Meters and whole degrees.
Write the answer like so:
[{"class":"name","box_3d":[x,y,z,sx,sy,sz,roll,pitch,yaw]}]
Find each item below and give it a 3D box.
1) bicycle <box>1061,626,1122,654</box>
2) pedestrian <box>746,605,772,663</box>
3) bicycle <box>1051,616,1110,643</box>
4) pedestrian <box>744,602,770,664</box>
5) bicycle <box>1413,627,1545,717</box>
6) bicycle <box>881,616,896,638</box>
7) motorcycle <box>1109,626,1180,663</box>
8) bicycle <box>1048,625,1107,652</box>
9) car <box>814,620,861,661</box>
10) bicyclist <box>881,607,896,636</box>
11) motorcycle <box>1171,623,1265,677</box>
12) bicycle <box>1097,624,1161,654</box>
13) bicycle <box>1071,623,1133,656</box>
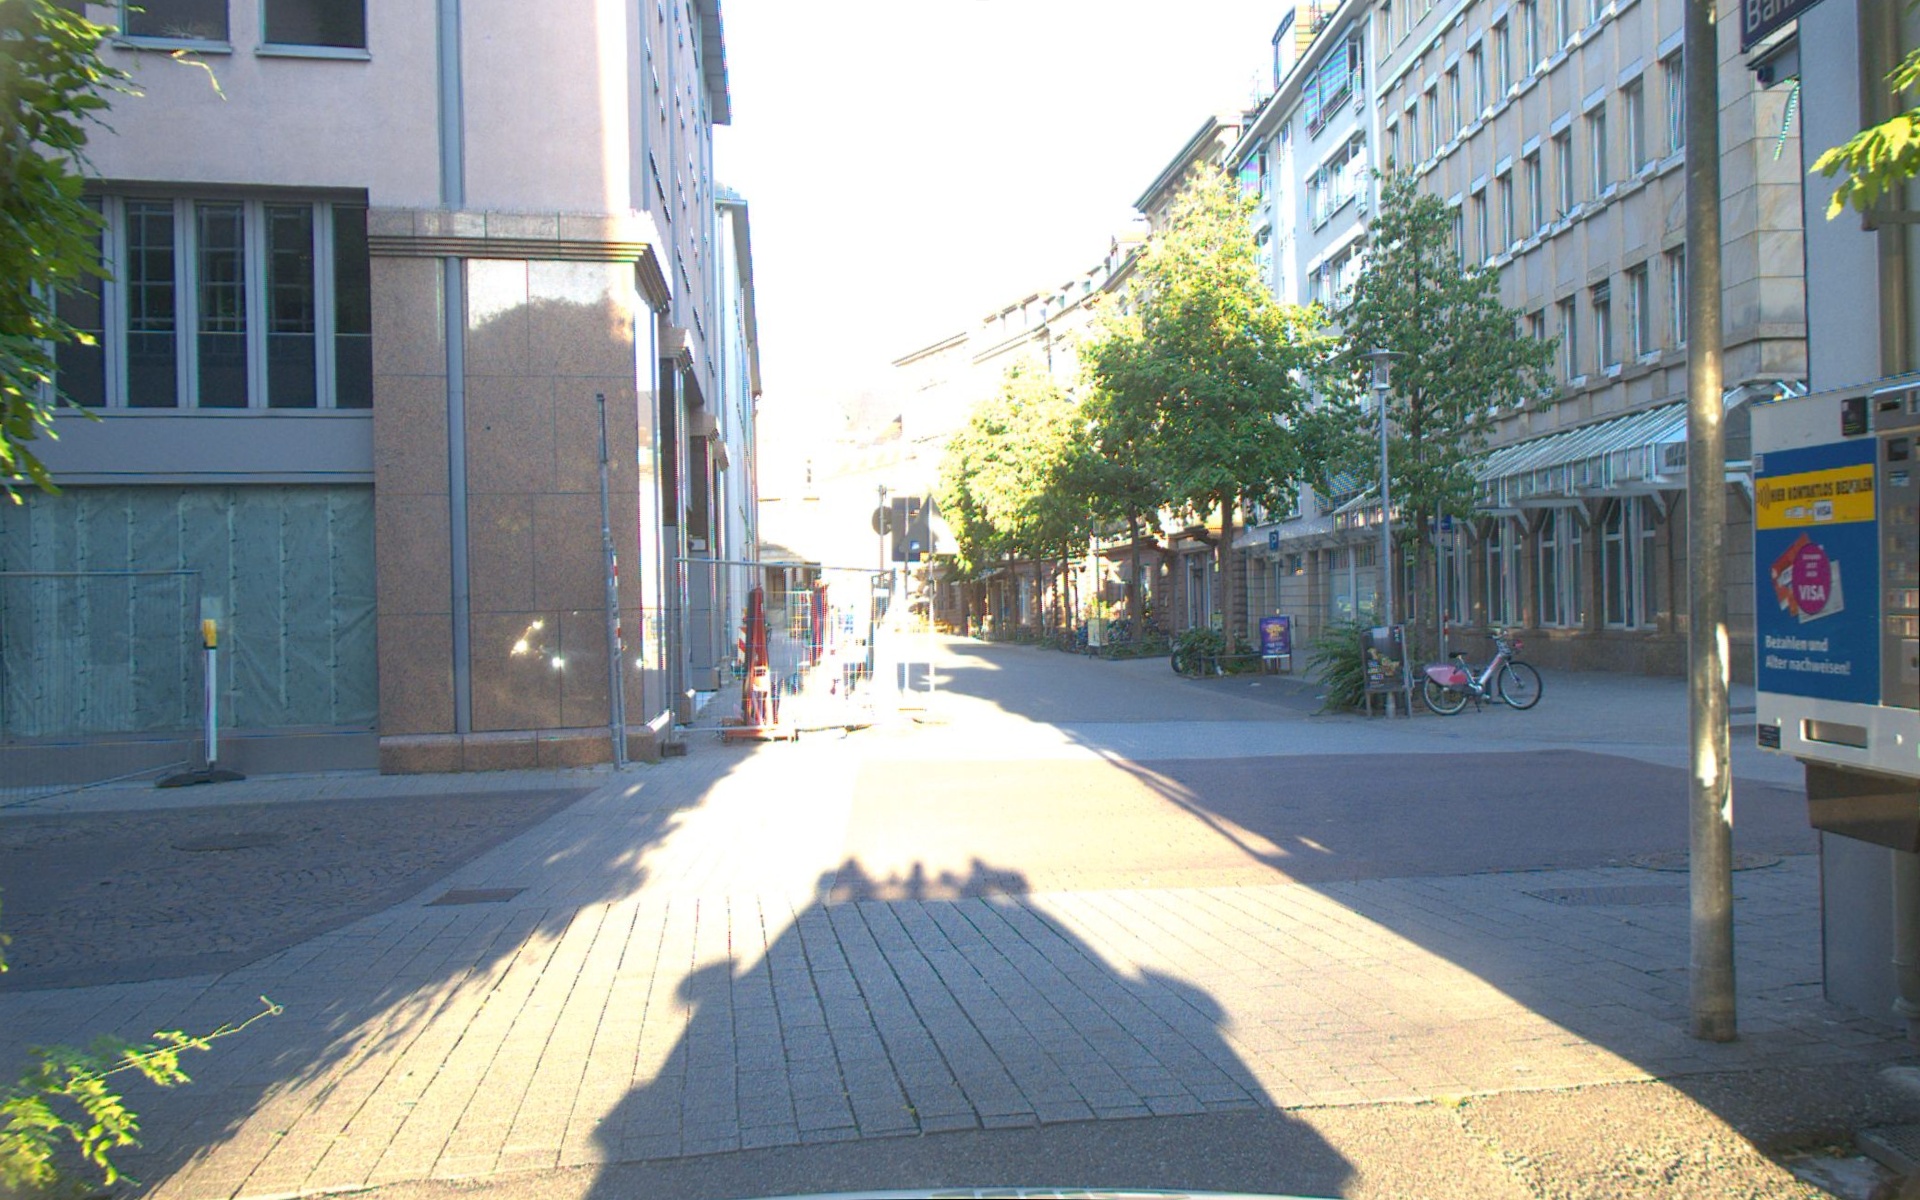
[{"class":"bicycle","box_3d":[4.826,1.482,60.659,2.115,0.942,0.589,-2,-1,-11]},{"class":"pedestrian","box_3d":[-5.996,1.009,49.408,0.641,1.680,0.634,-2,-1,1]},{"class":"bicycle","box_3d":[4.498,1.104,61.749,2.115,0.942,0.589,-2,-1,-11]},{"class":"pedestrian","box_3d":[-5.980,0.959,48.740,0.641,1.795,0.634,-2,-1,1]},{"class":"bicycle","box_3d":[7.085,0.979,22.641,1.621,1.069,0.663,-5,0,14]},{"class":"bicycle","box_3d":[-3.805,1.455,87.952,0.578,1.114,2.156,-2,-1,-8]},{"class":"motorcycle","box_3d":[6.196,1.492,55.504,2.441,1.114,0.585,-2,-2,-27]},{"class":"bicycle","box_3d":[4.432,1.452,62.570,2.115,0.942,0.589,-2,-1,-11]},{"class":"car","box_3d":[-5.503,1.810,74.025,1.808,1.713,3.637,-2,-1,-9]},{"class":"bicyclist","box_3d":[-3.786,1.139,87.754,0.708,1.494,0.716,-2,-2,-8]},{"class":"motorcycle","box_3d":[6.083,1.174,39.023,2.112,1.171,0.493,-2,-2,-7]},{"class":"bicycle","box_3d":[5.778,1.342,56.590,2.120,0.942,0.587,-2,-2,-19]},{"class":"bicycle","box_3d":[5.020,1.381,58.435,2.107,1.080,0.591,-2,-2,10]}]
